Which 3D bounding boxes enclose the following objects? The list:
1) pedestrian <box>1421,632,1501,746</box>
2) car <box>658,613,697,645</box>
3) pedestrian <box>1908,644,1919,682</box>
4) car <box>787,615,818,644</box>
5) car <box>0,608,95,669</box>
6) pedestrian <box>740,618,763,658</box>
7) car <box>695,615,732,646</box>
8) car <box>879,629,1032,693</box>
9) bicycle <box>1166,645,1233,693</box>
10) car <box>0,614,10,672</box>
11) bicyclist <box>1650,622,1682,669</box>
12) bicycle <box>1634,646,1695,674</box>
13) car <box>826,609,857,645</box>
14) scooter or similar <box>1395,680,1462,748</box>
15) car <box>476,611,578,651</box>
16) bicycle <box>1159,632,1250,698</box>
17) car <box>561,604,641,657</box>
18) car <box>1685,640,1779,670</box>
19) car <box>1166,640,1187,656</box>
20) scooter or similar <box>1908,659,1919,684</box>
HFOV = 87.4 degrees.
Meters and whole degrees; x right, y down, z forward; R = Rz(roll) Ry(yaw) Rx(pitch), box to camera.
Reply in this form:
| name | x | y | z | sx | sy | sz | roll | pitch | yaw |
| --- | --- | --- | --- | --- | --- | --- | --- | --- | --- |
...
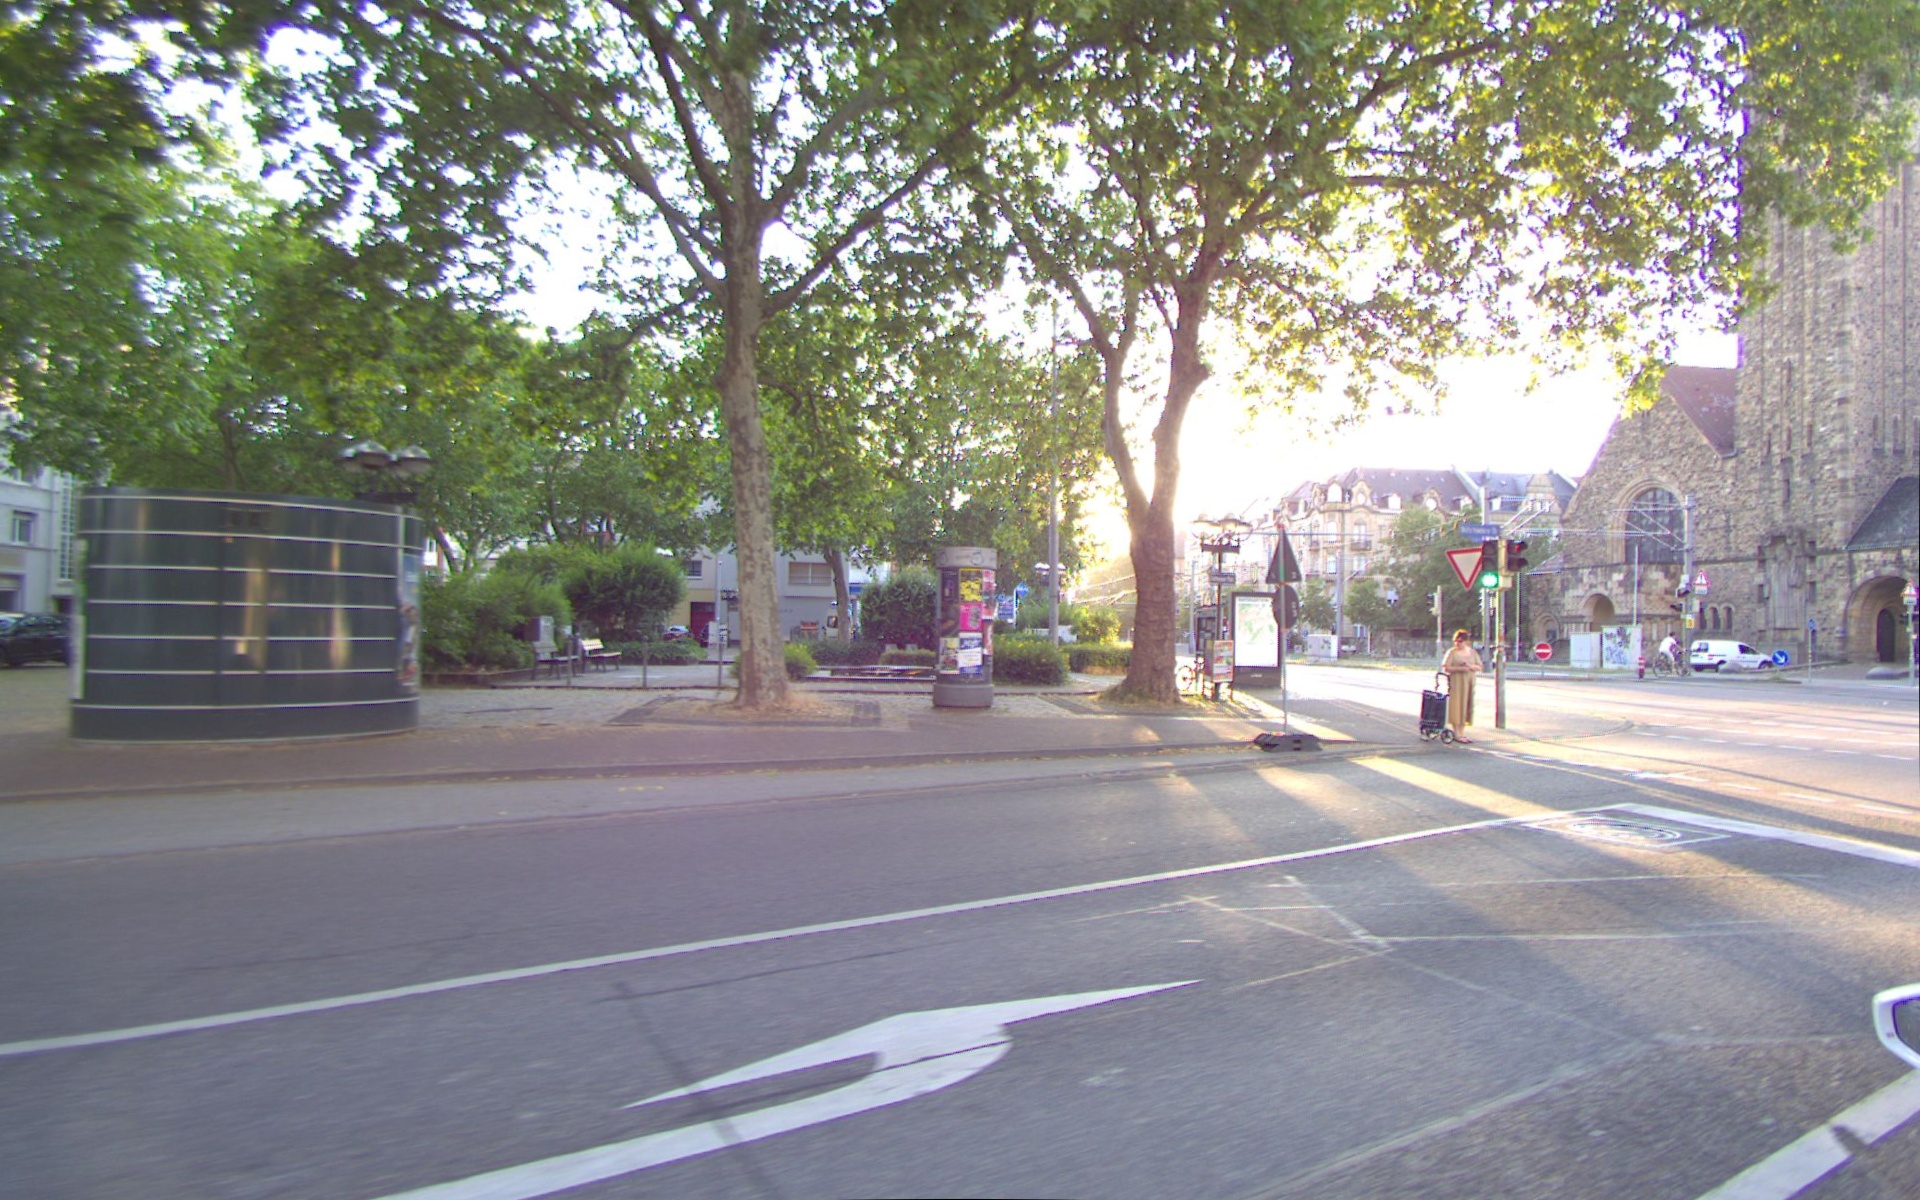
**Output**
| name | x | y | z | sx | sy | sz | roll | pitch | yaw |
| --- | --- | --- | --- | --- | --- | --- | --- | --- | --- |
| pedestrian | 7.586 | 1.322 | 15.218 | 0.766 | 1.649 | 0.797 | 2 | -1 | -34 |
| car | -19.053 | 1.912 | 67.933 | 1.963 | 2.040 | 3.995 | 2 | -1 | -8 |
| pedestrian | 44.384 | 2.925 | 46.388 | 0.593 | 1.721 | 0.633 | 2 | -1 | -18 |
| car | -10.756 | 1.996 | 68.645 | 1.882 | 1.873 | 3.996 | 2 | -1 | -7 |
| car | -25.291 | 1.006 | 26.552 | 1.642 | 1.549 | 3.761 | 2 | -2 | -3 |
| pedestrian | -9.105 | 1.663 | 43.912 | 0.869 | 1.694 | 0.740 | 2 | -1 | -7 |
| car | -16.738 | 2.064 | 68.447 | 1.963 | 2.040 | 3.995 | 2 | -1 | -8 |
| car | -0.189 | 1.854 | 30.905 | 4.552 | 1.805 | 1.999 | -1 | -2 | -4 |
| bicycle | 5.850 | 1.682 | 24.451 | 1.779 | 1.107 | 0.455 | 3 | -1 | -32 |
| car | -31.160 | 1.280 | 29.366 | 4.556 | 1.758 | 1.997 | -1 | -2 | -9 |
| bicyclist | 28.736 | 1.845 | 40.899 | 0.843 | 1.851 | 0.657 | 0 | 0 | -9 |
| bicycle | 28.764 | 2.449 | 41.000 | 2.204 | 1.092 | 0.657 | 2 | 0 | -10 |
| car | -8.119 | 1.834 | 68.872 | 1.963 | 2.374 | 3.996 | 2 | -1 | -7 |
| scooter or similar | 6.877 | 1.654 | 14.750 | 0.845 | 0.909 | 0.586 | 3 | -1 | -40 |
| car | -22.722 | 1.637 | 52.871 | 4.556 | 1.964 | 1.997 | -1 | -2 | -9 |
| bicycle | 5.216 | 1.388 | 21.432 | 1.967 | 1.344 | 0.524 | 2 | -1 | -25 |
| car | -13.189 | 1.156 | 37.202 | 1.963 | 1.805 | 4.496 | -1 | -3 | -9 |
| car | 45.135 | 3.216 | 58.773 | 4.371 | 1.537 | 1.718 | 2 | -1 | -5 |
| car | 30.265 | 6.683 | 140.539 | 1.961 | 2.040 | 3.999 | 2 | -1 | -3 |
| scooter or similar | 43.763 | 3.247 | 45.612 | 1.062 | 1.117 | 0.633 | 2 | -3 | -19 |
